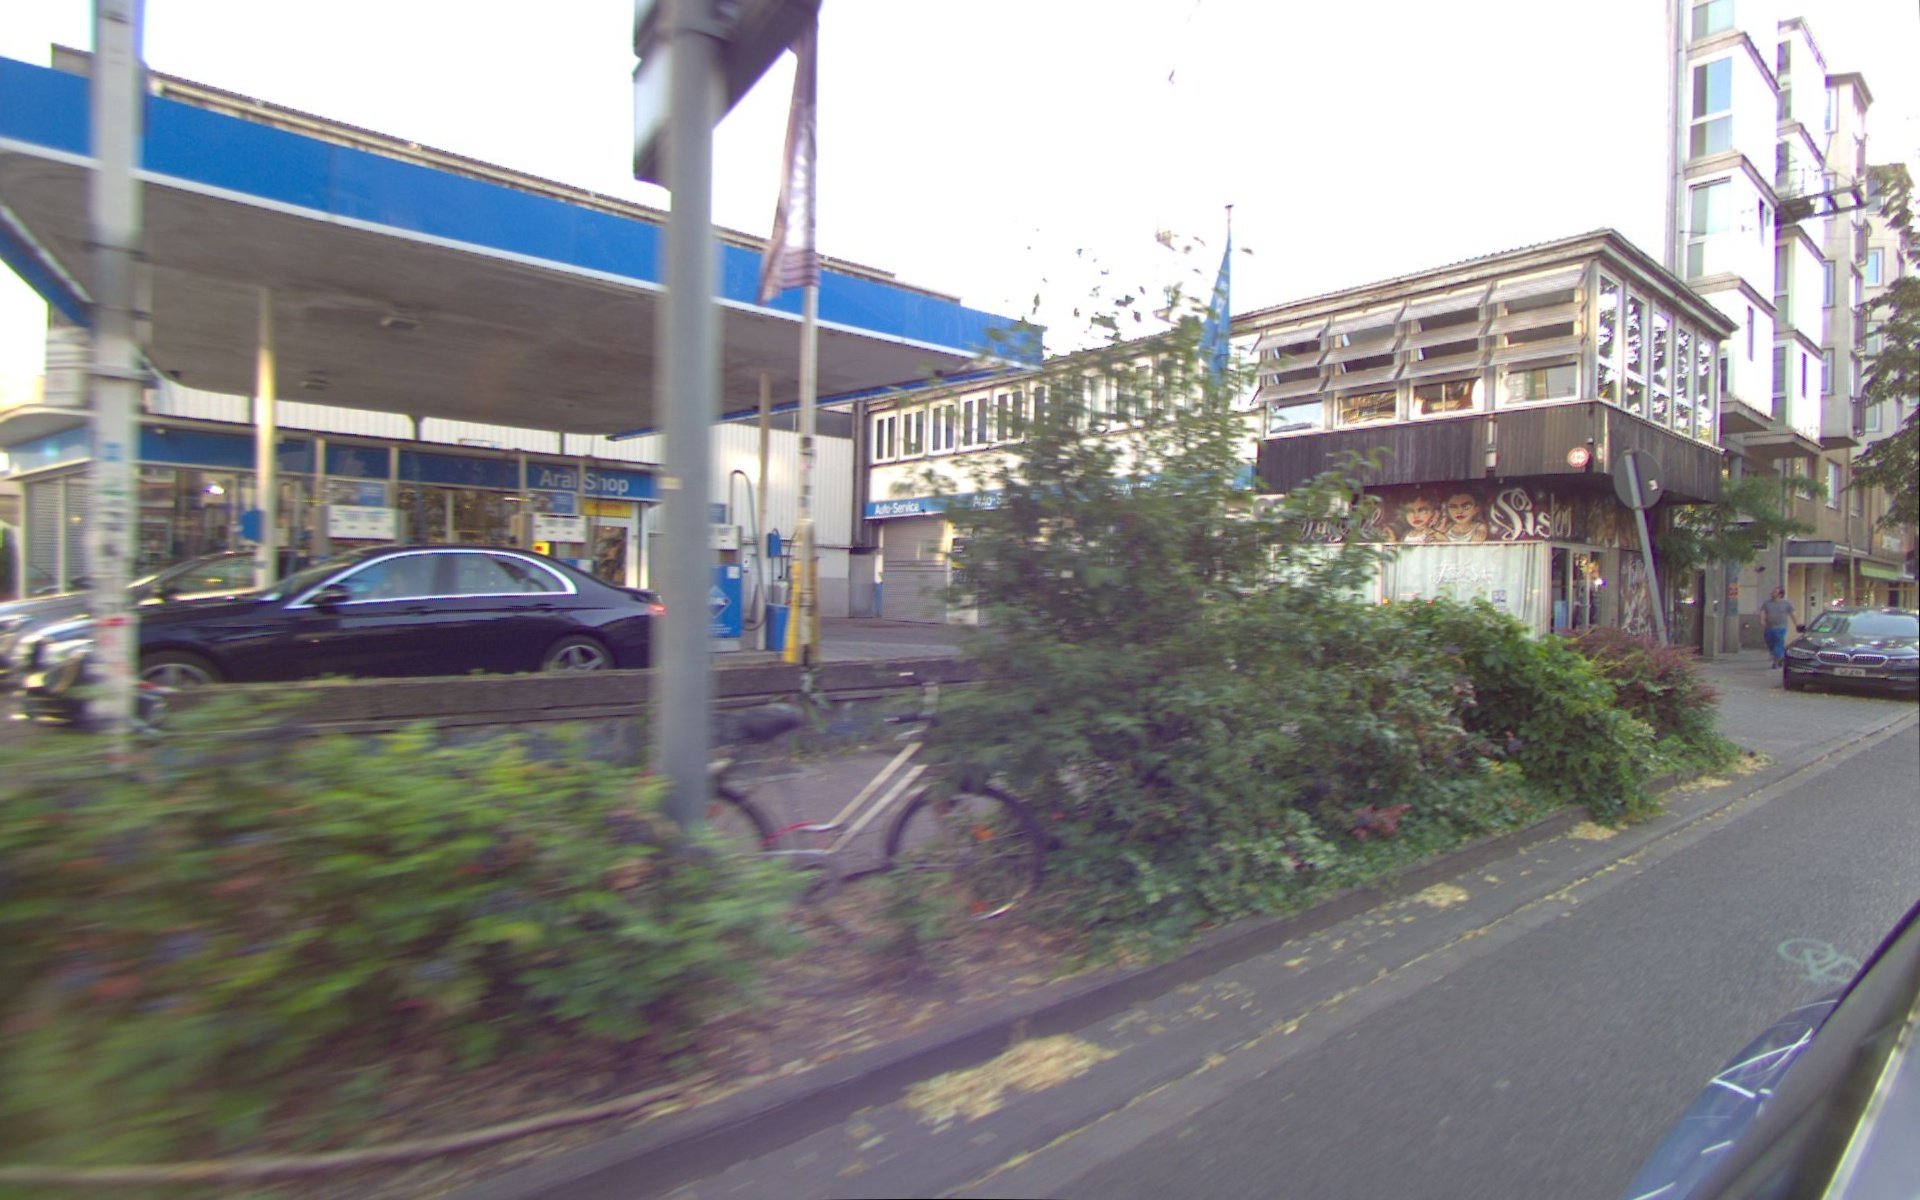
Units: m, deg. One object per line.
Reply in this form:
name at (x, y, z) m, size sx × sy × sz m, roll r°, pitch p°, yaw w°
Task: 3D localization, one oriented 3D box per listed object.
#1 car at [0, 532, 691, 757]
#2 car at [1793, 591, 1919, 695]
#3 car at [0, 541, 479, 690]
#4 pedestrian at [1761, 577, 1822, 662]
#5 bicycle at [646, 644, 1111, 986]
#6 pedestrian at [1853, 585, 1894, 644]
car at (-4.939, 0.213, 8.704) m, size 4.823 × 1.448 × 1.738 m, roll -1°, pitch 3°, yaw -41°
car at (16.016, 0.658, 17.463) m, size 4.767 × 1.506 × 1.831 m, roll 0°, pitch 3°, yaw -43°
car at (-8.262, 0.082, 11.619) m, size 4.676 × 1.419 × 1.714 m, roll -1°, pitch 3°, yaw -41°
pedestrian at (18.501, 0.422, 22.513) m, size 0.979 × 1.816 × 0.857 m, roll 1°, pitch 1°, yaw -41°
bicycle at (-0.310, 0.792, 3.907) m, size 1.646 × 1.157 × 0.485 m, roll 2°, pitch 2°, yaw -9°
pedestrian at (27.386, 0.430, 30.347) m, size 0.688 × 1.725 × 0.789 m, roll 1°, pitch 1°, yaw -40°
